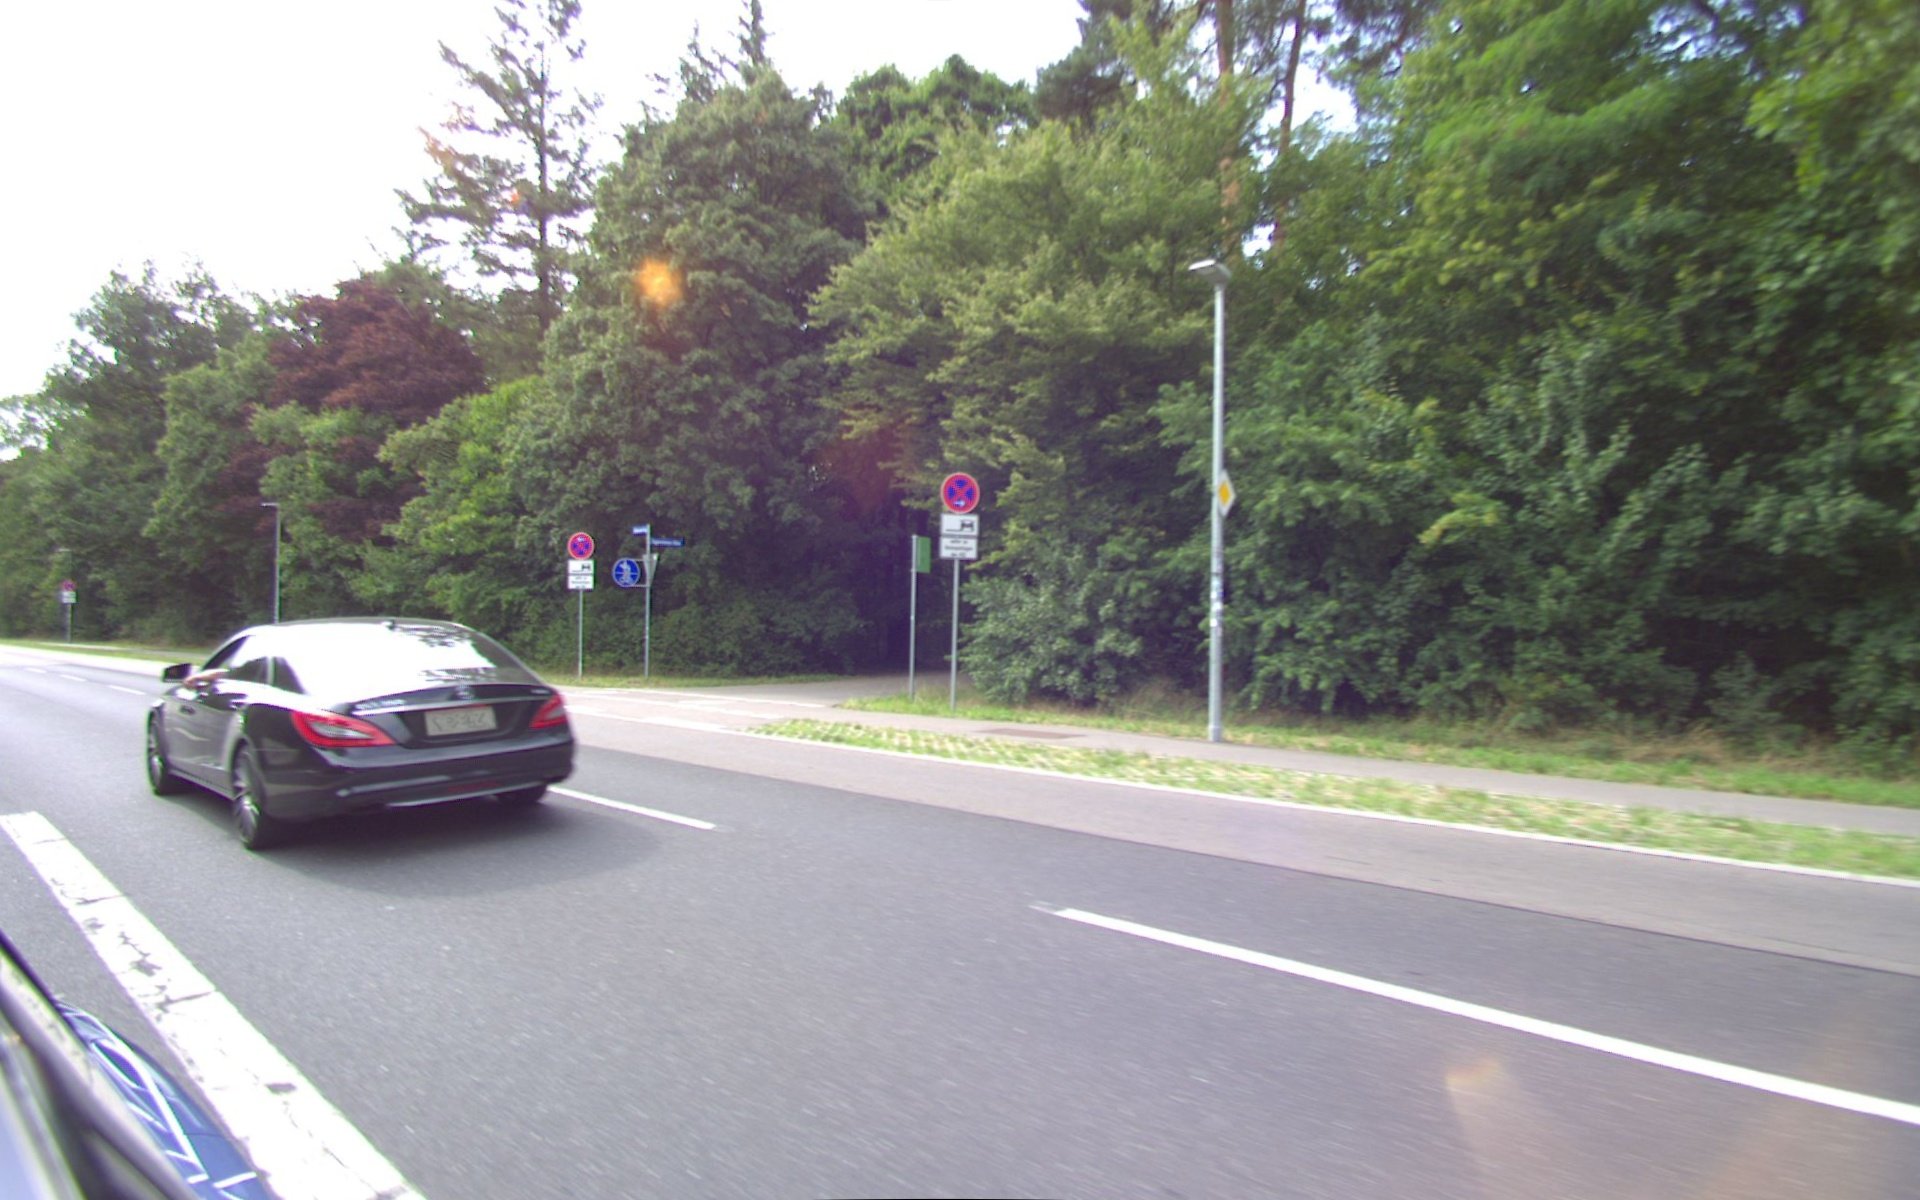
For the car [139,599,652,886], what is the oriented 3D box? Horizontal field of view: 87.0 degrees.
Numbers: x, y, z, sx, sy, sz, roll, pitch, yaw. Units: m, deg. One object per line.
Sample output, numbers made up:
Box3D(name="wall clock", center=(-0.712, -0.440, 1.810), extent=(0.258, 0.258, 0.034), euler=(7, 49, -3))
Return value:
Box3D(name="car", center=(-4.421, 0.738, 7.531), extent=(4.721, 1.446, 1.972), euler=(0, 0, 43))
